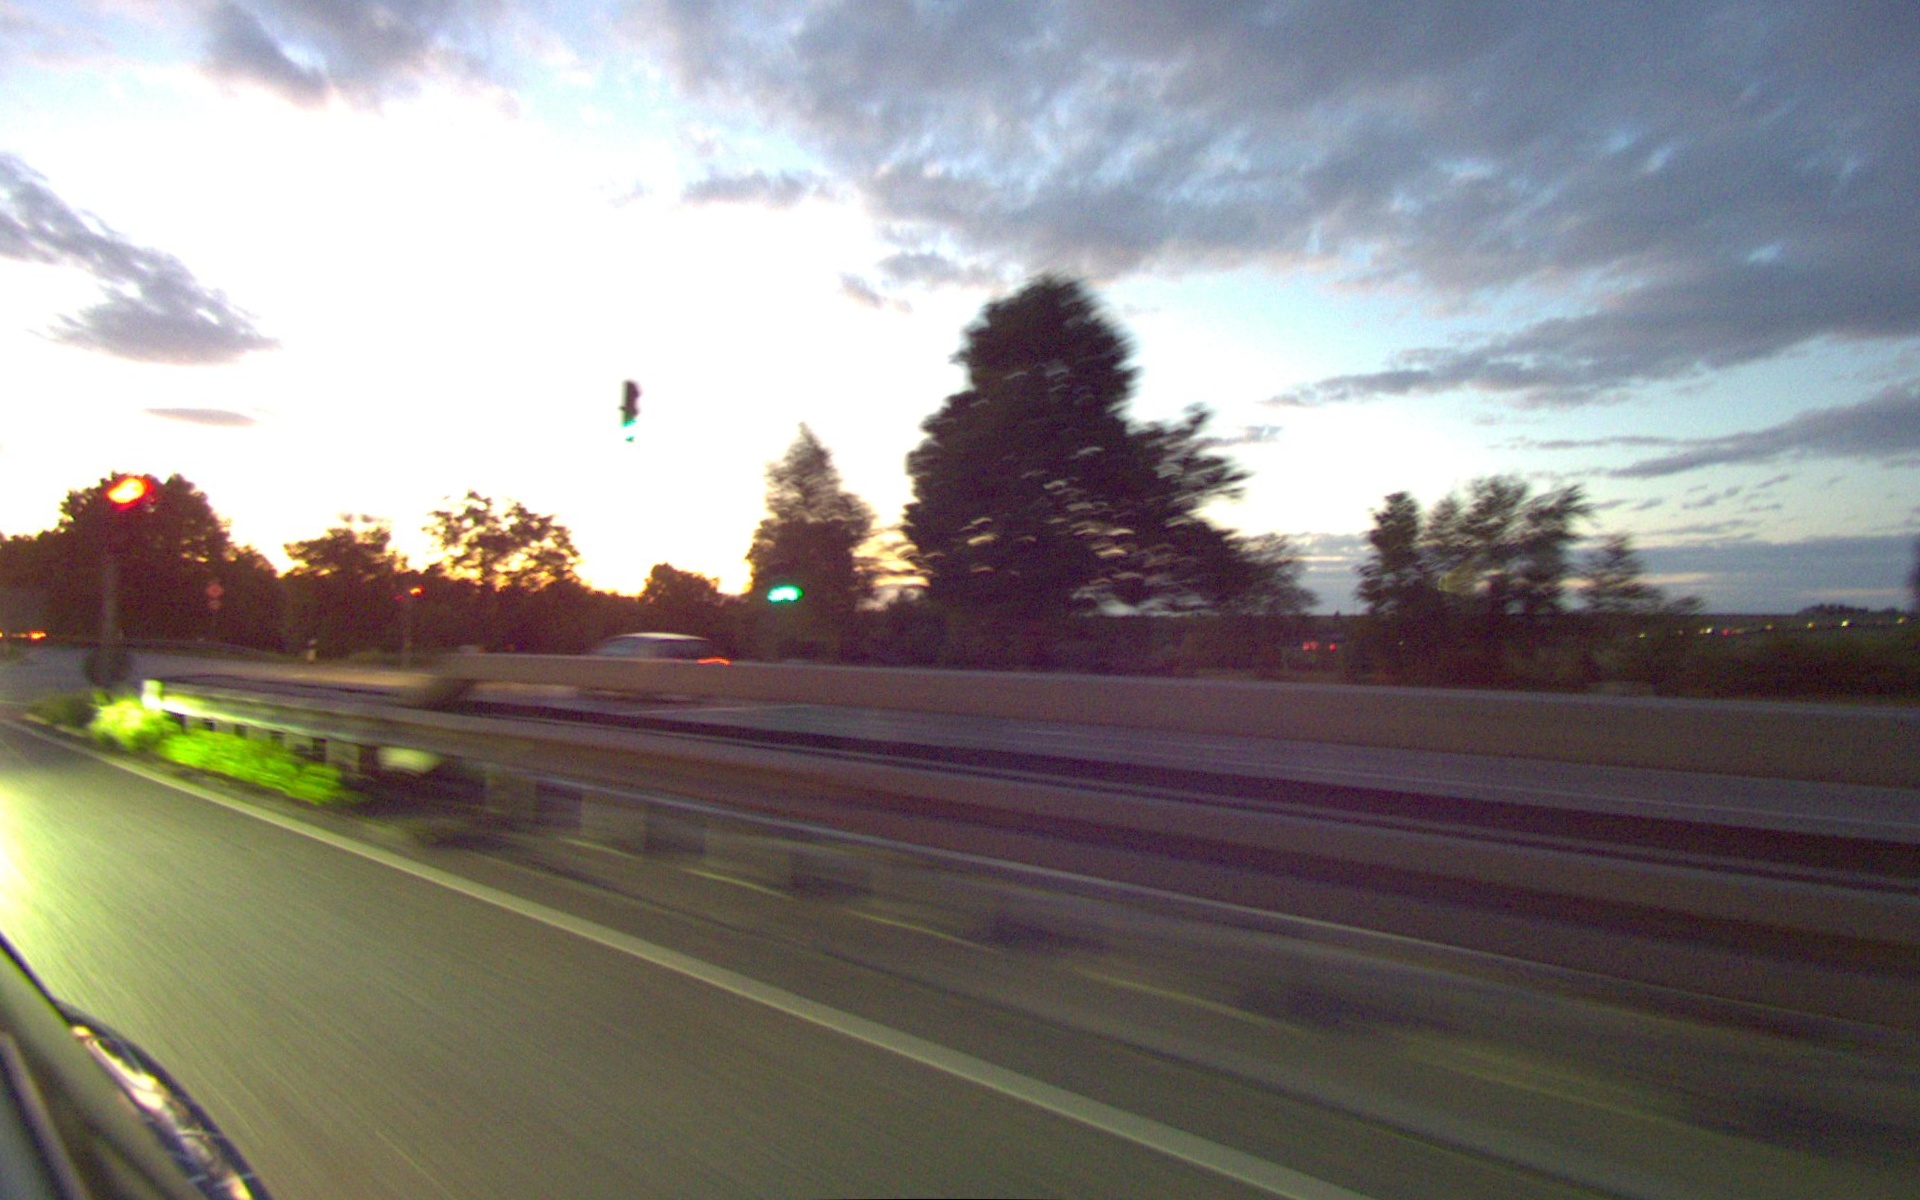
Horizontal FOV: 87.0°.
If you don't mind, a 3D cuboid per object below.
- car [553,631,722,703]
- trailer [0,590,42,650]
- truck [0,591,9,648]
[{"bbox_3d":[-7.225,1.420,22.520,4.025,1.395,1.636,-1,0,38],"label":"car"},{"bbox_3d":[-67.493,1.407,71.179,8.861,3.973,2.553,-1,-4,37],"label":"trailer"},{"bbox_3d":[-75.300,1.466,76.755,10.325,4.149,2.701,-1,-2,36],"label":"truck"}]
